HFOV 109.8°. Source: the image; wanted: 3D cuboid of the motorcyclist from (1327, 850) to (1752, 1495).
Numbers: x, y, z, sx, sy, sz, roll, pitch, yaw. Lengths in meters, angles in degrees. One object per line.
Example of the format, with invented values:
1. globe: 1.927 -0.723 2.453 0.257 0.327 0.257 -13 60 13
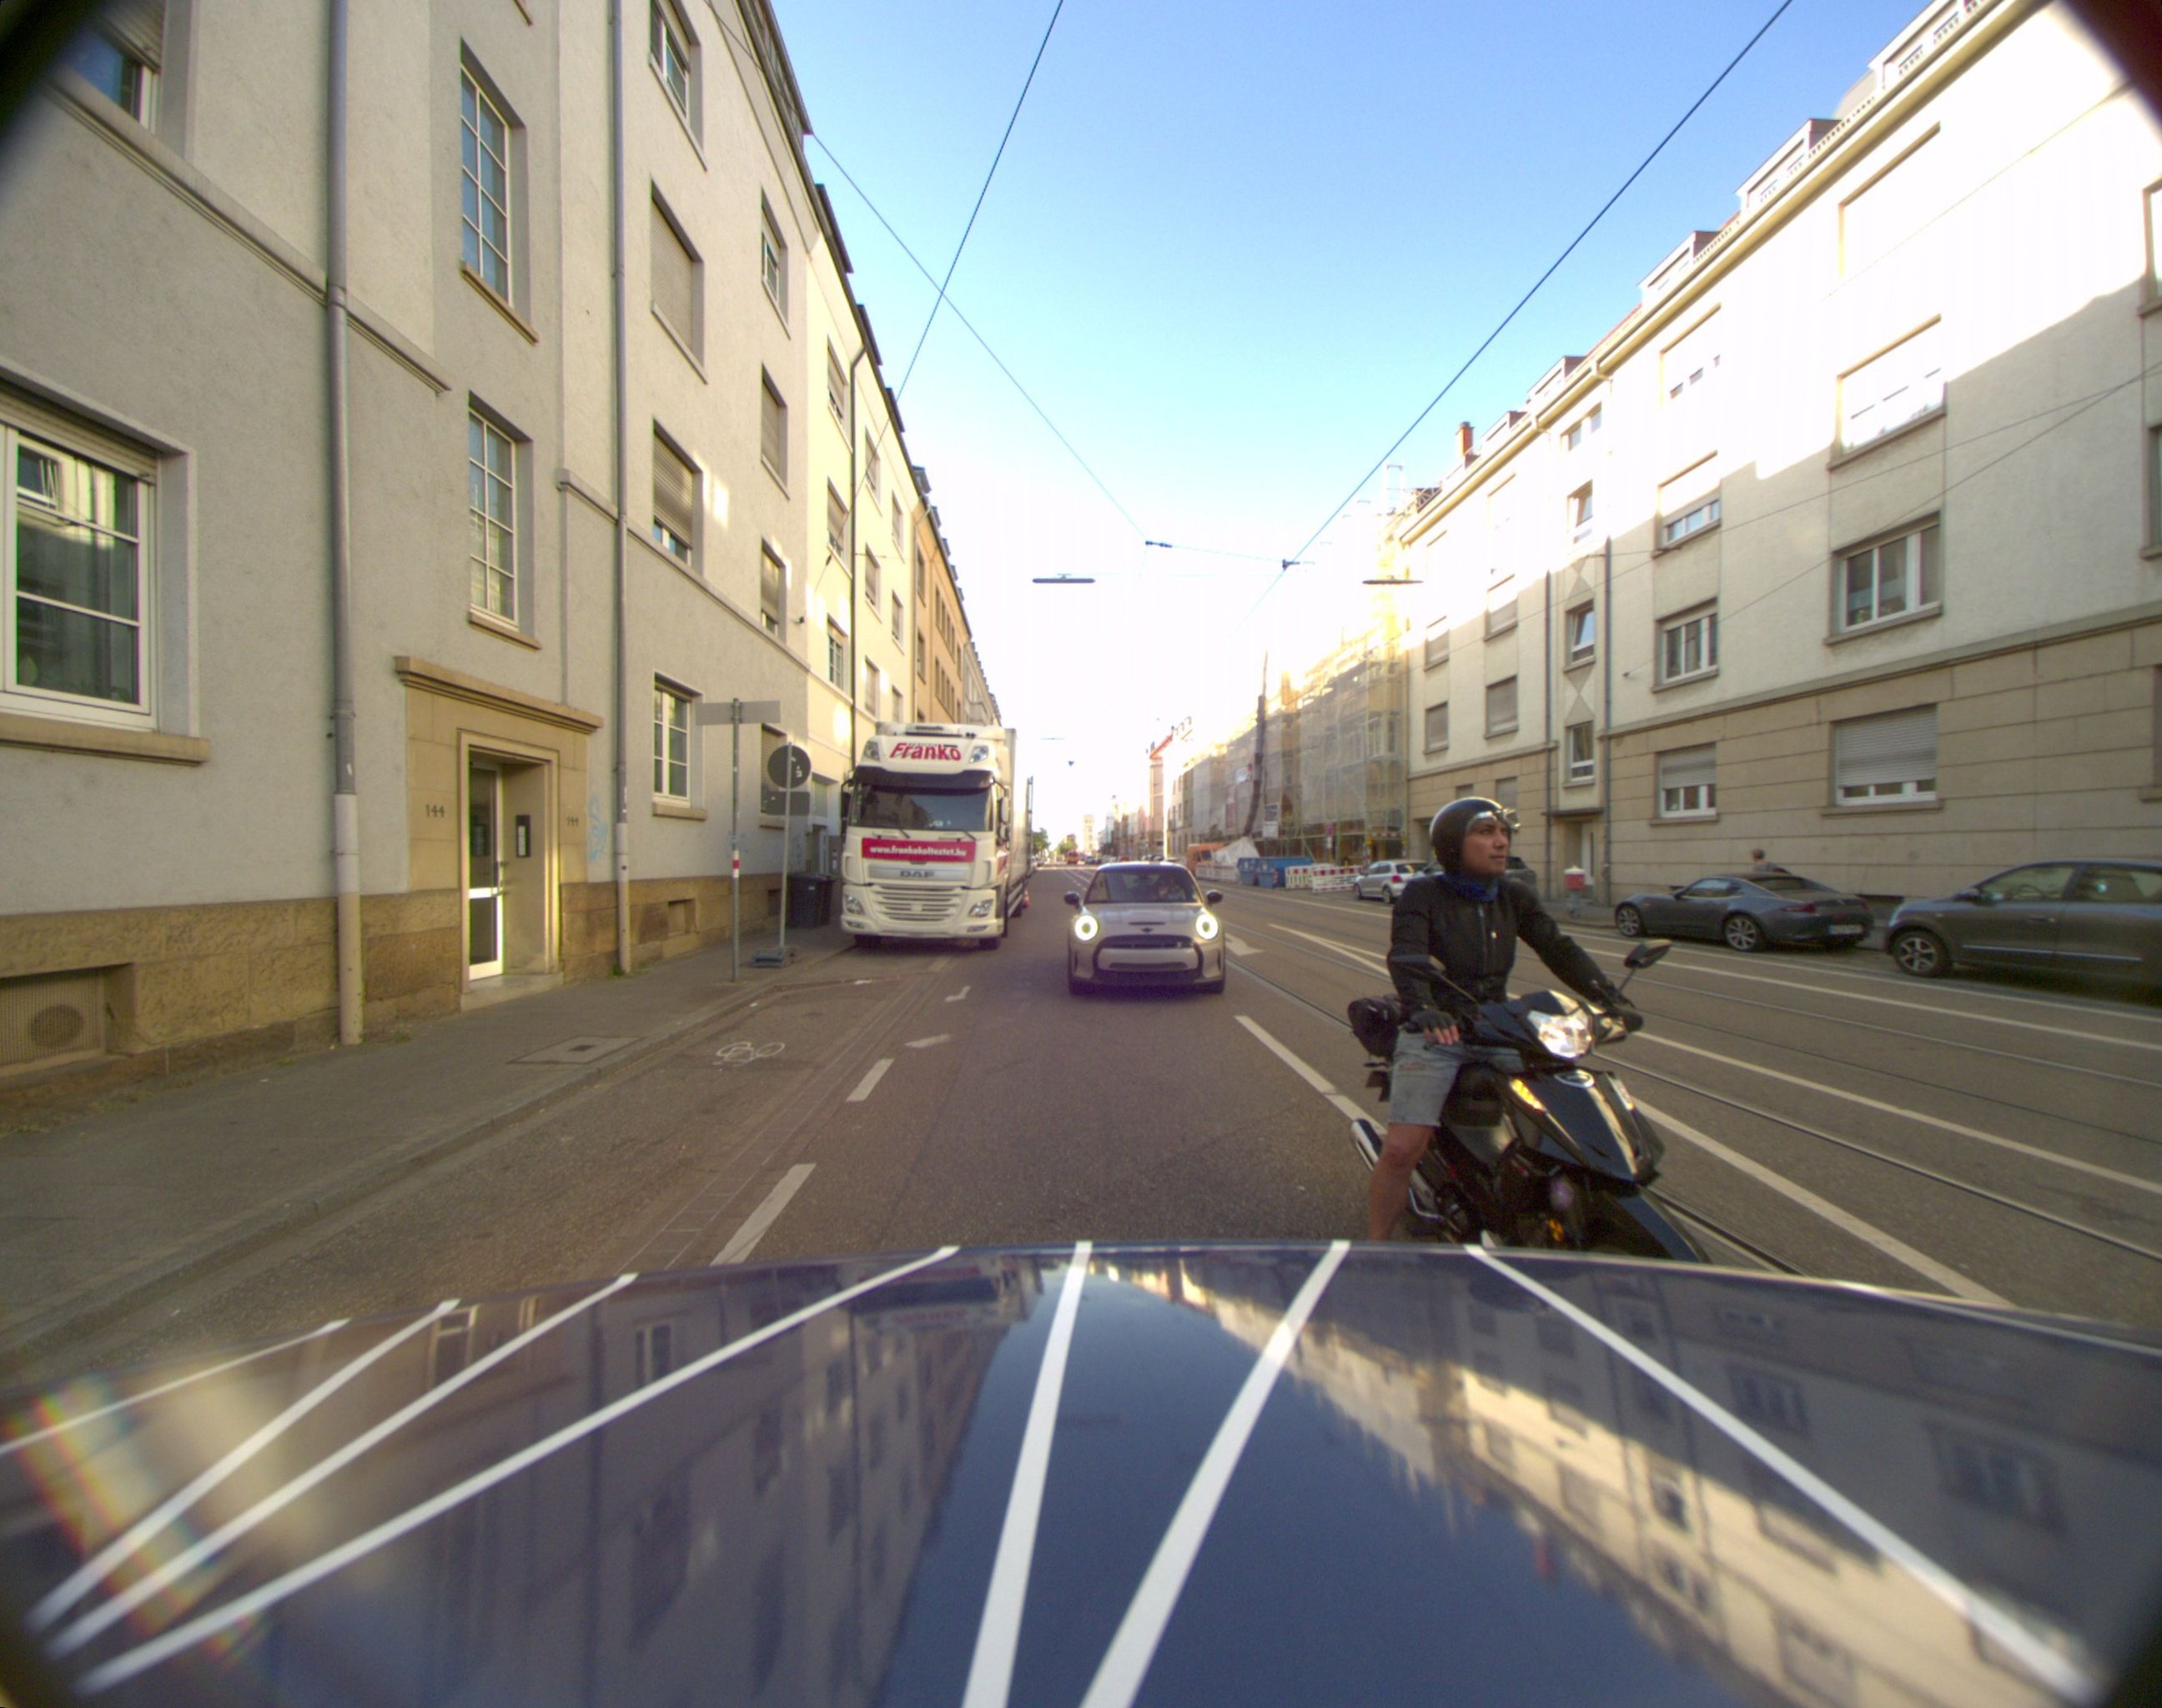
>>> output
1. motorcyclist: 1.308 0.813 2.380 0.791 1.645 0.900 0 1 1

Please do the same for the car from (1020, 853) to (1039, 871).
1. car: -4.861 0.742 72.087 1.685 1.522 4.148 -2 0 -3

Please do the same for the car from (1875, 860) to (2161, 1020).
1. car: 11.415 0.857 8.310 1.679 1.519 3.539 -1 0 -3

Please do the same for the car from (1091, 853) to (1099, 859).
1. car: 3.524 0.601 191.736 1.684 1.478 3.965 -2 0 -1

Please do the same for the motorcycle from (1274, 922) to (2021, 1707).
1. motorcycle: 1.308 0.969 2.509 0.791 1.284 2.273 0 0 1

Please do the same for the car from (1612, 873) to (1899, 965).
1. car: 11.178 0.997 12.972 1.520 1.227 3.685 -1 0 -3

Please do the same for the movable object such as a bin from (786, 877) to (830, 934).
1. movable object such as a bin: -5.385 1.002 15.029 0.666 1.087 0.570 0 1 -2

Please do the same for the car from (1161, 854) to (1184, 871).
1. car: 8.567 0.756 71.103 1.684 1.478 3.966 -2 0 1

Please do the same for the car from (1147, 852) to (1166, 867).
1. car: 8.239 0.612 83.173 1.684 1.573 3.966 -2 0 1

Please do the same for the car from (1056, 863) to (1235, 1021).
1. car: 0.572 0.889 9.551 1.685 1.454 4.148 -2 0 -3

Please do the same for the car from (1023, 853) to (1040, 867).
1. car: -5.356 0.642 82.733 1.685 1.522 4.148 -2 0 -3

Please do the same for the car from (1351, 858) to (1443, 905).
1. car: 10.607 0.878 25.769 1.543 1.404 3.510 -1 0 -3

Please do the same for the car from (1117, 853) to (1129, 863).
1. car: 6.591 0.618 118.625 1.684 1.478 3.966 -2 0 1

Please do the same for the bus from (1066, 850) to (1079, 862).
1. bus: -2.334 0.586 203.657 2.755 3.095 19.156 0 0 -3

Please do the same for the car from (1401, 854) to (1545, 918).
1. car: 10.809 0.802 21.321 1.696 1.590 4.206 -1 0 -3

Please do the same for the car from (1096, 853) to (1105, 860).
1. car: 4.248 0.610 167.802 1.684 1.478 3.965 -2 0 -1

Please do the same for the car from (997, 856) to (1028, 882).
1. car: -4.179 0.891 47.177 1.685 1.522 4.148 -2 0 -3

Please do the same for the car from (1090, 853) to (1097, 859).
1. car: 3.298 0.581 206.880 1.684 1.478 3.965 -2 0 -1

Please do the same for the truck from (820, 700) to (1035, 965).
1. truck: -2.627 -0.326 17.170 2.782 3.903 11.816 0 0 -2

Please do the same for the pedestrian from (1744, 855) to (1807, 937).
1. pedestrian: 13.312 0.780 14.580 0.570 1.532 0.693 0 1 -2

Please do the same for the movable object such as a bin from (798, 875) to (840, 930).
1. movable object such as a bin: -5.402 0.993 15.698 0.666 1.087 0.570 0 1 -2

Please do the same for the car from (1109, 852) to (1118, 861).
1. car: 5.949 0.438 139.334 1.684 1.478 3.966 -2 0 1

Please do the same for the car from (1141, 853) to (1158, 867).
1. car: 7.928 0.649 87.870 1.684 1.478 3.966 -2 0 1

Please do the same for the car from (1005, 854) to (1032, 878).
1. car: -4.306 0.823 52.979 1.685 1.522 4.148 -2 0 -3

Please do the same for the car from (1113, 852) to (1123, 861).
1. car: 6.522 0.459 134.391 1.684 1.478 3.966 -2 0 1

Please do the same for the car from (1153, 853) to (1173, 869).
1. car: 8.261 0.701 76.800 1.684 1.478 3.966 -2 0 1

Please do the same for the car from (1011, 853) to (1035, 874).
1. car: -4.515 0.740 59.147 1.685 1.522 4.148 -2 0 -3
